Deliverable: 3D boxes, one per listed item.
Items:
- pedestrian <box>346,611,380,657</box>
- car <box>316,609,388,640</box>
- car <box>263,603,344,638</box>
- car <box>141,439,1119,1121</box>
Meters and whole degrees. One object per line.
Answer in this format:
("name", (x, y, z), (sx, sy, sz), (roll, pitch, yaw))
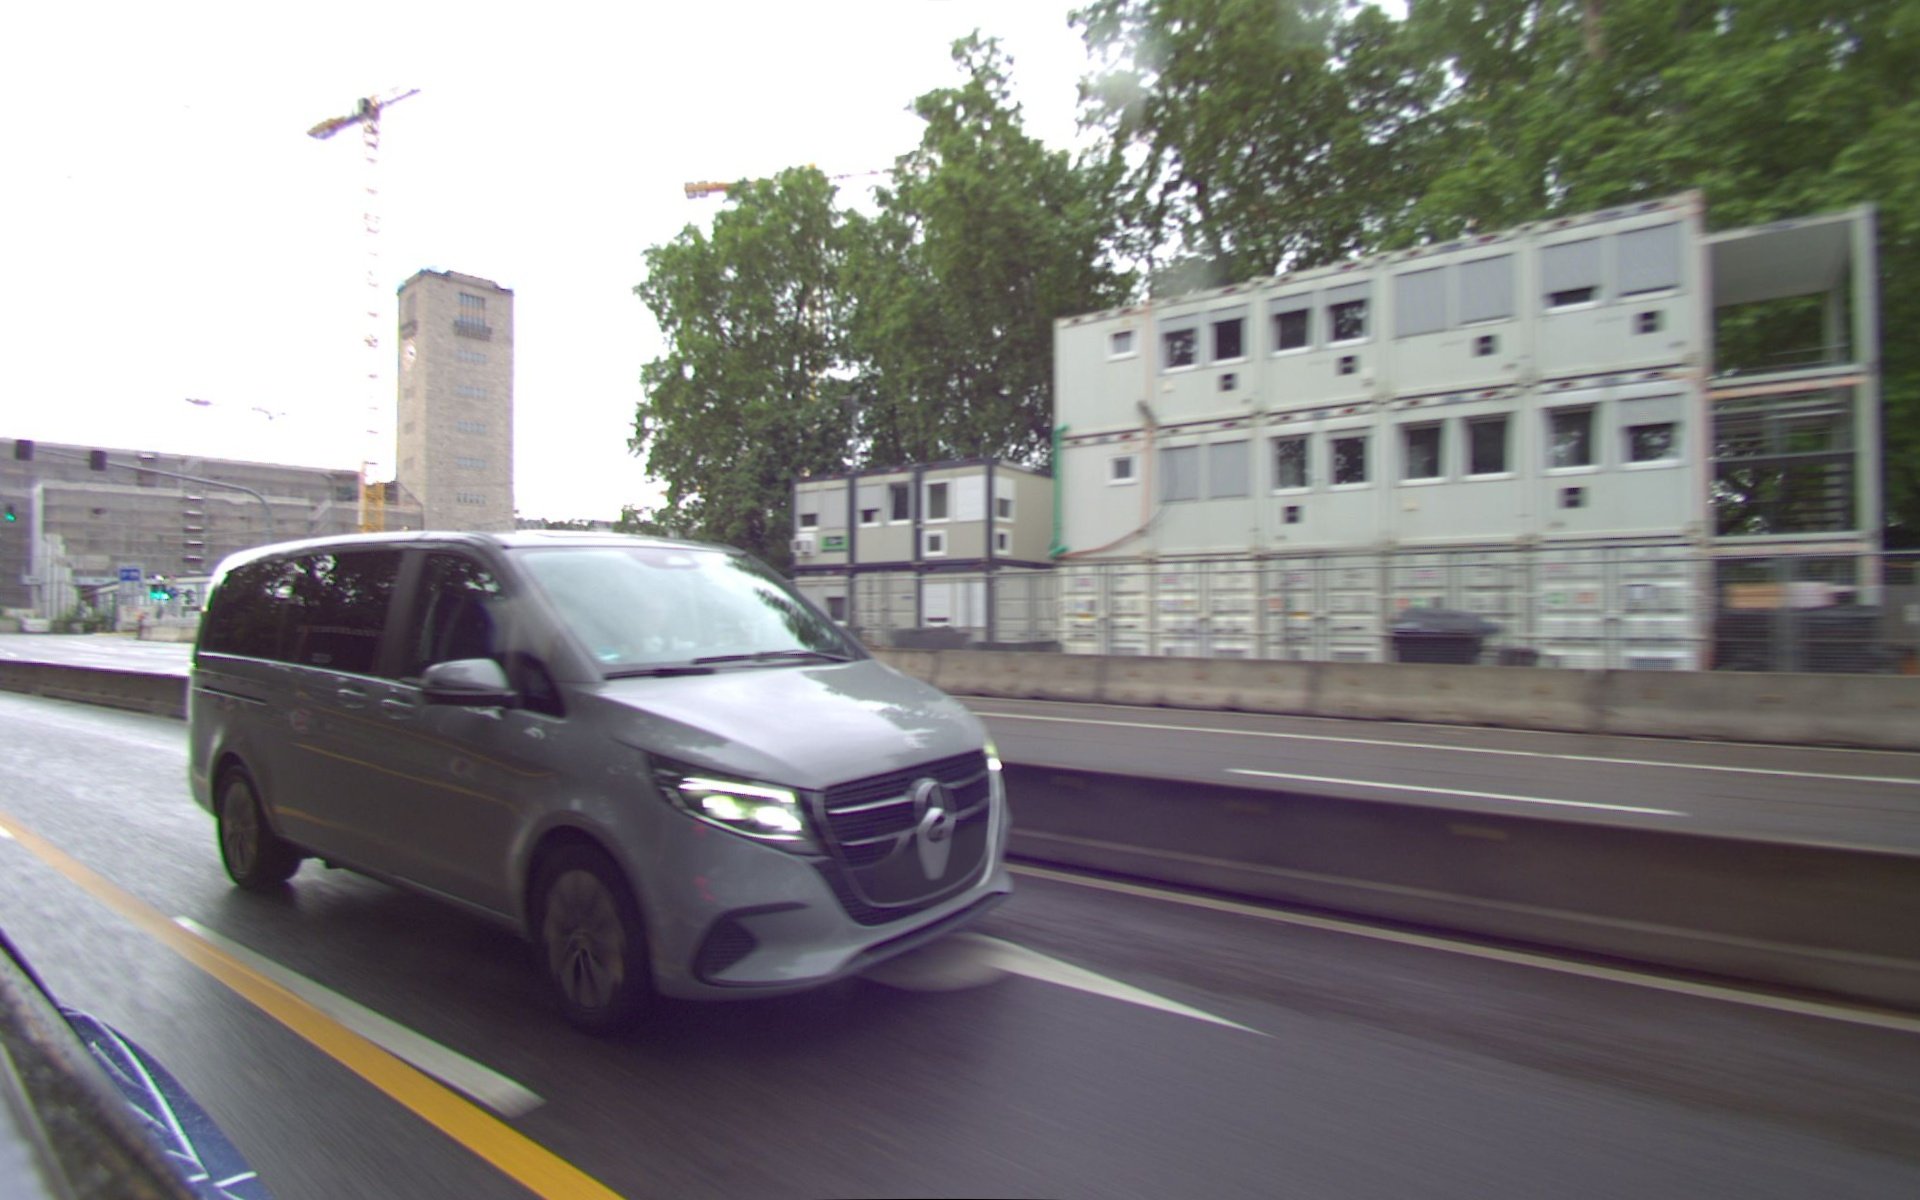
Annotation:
("pedestrian", (-27.068, 1.534, 45.861), (1.165, 2.029, 1.176), (0, -1, -39))
("car", (-36.259, 1.430, 60.299), (4.785, 1.775, 1.829), (-1, -2, 35))
("car", (-41.230, 1.292, 63.512), (5.563, 2.117, 1.978), (0, -3, 32))
("car", (-2.056, 0.547, 5.163), (5.346, 1.870, 1.976), (-2, -1, 36))
